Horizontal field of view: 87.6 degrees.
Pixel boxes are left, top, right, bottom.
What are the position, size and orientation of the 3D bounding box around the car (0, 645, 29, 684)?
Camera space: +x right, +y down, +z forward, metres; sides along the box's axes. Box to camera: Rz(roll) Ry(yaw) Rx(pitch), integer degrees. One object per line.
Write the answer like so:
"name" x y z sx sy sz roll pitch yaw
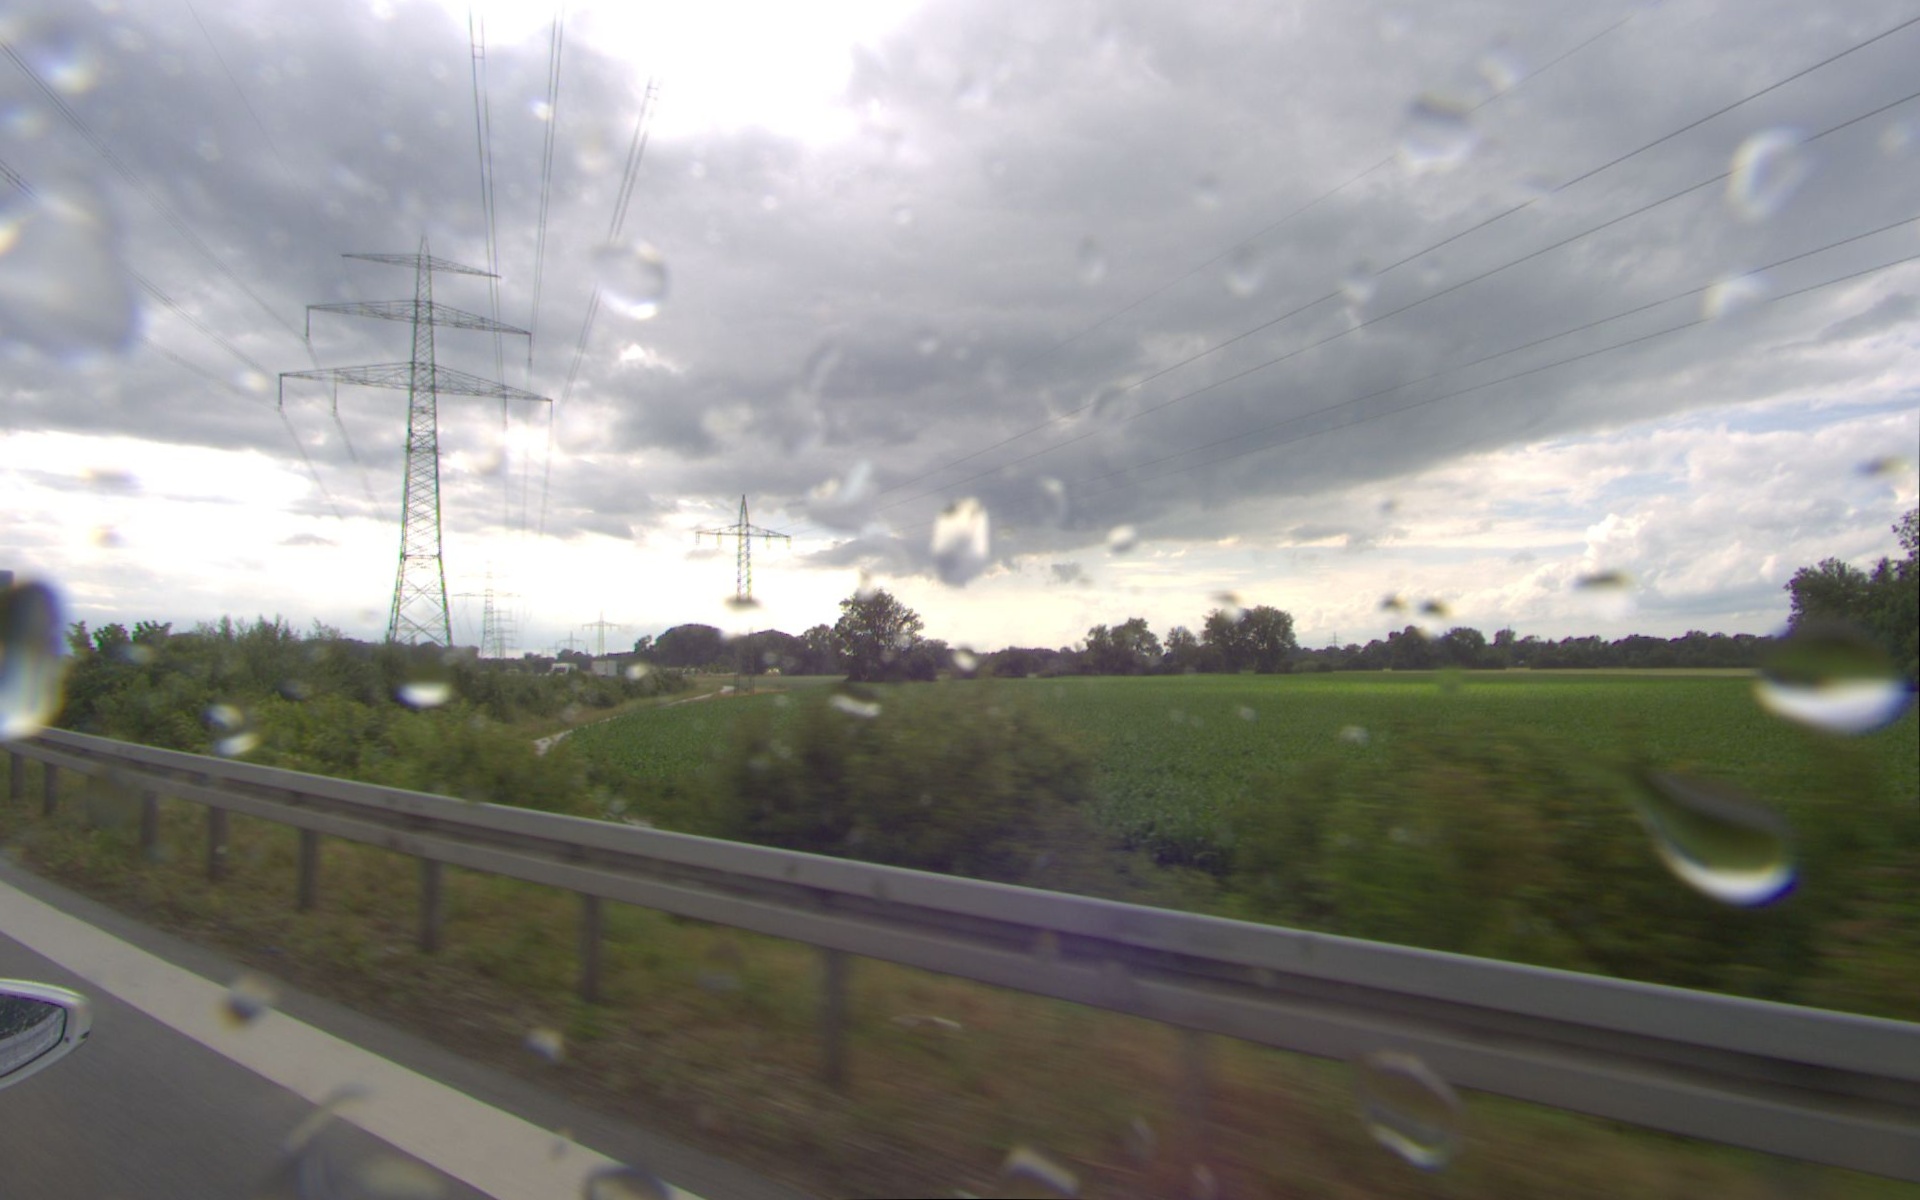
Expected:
"car" -38.651 2.590 39.995 1.777 1.458 3.972 4 -7 -38
